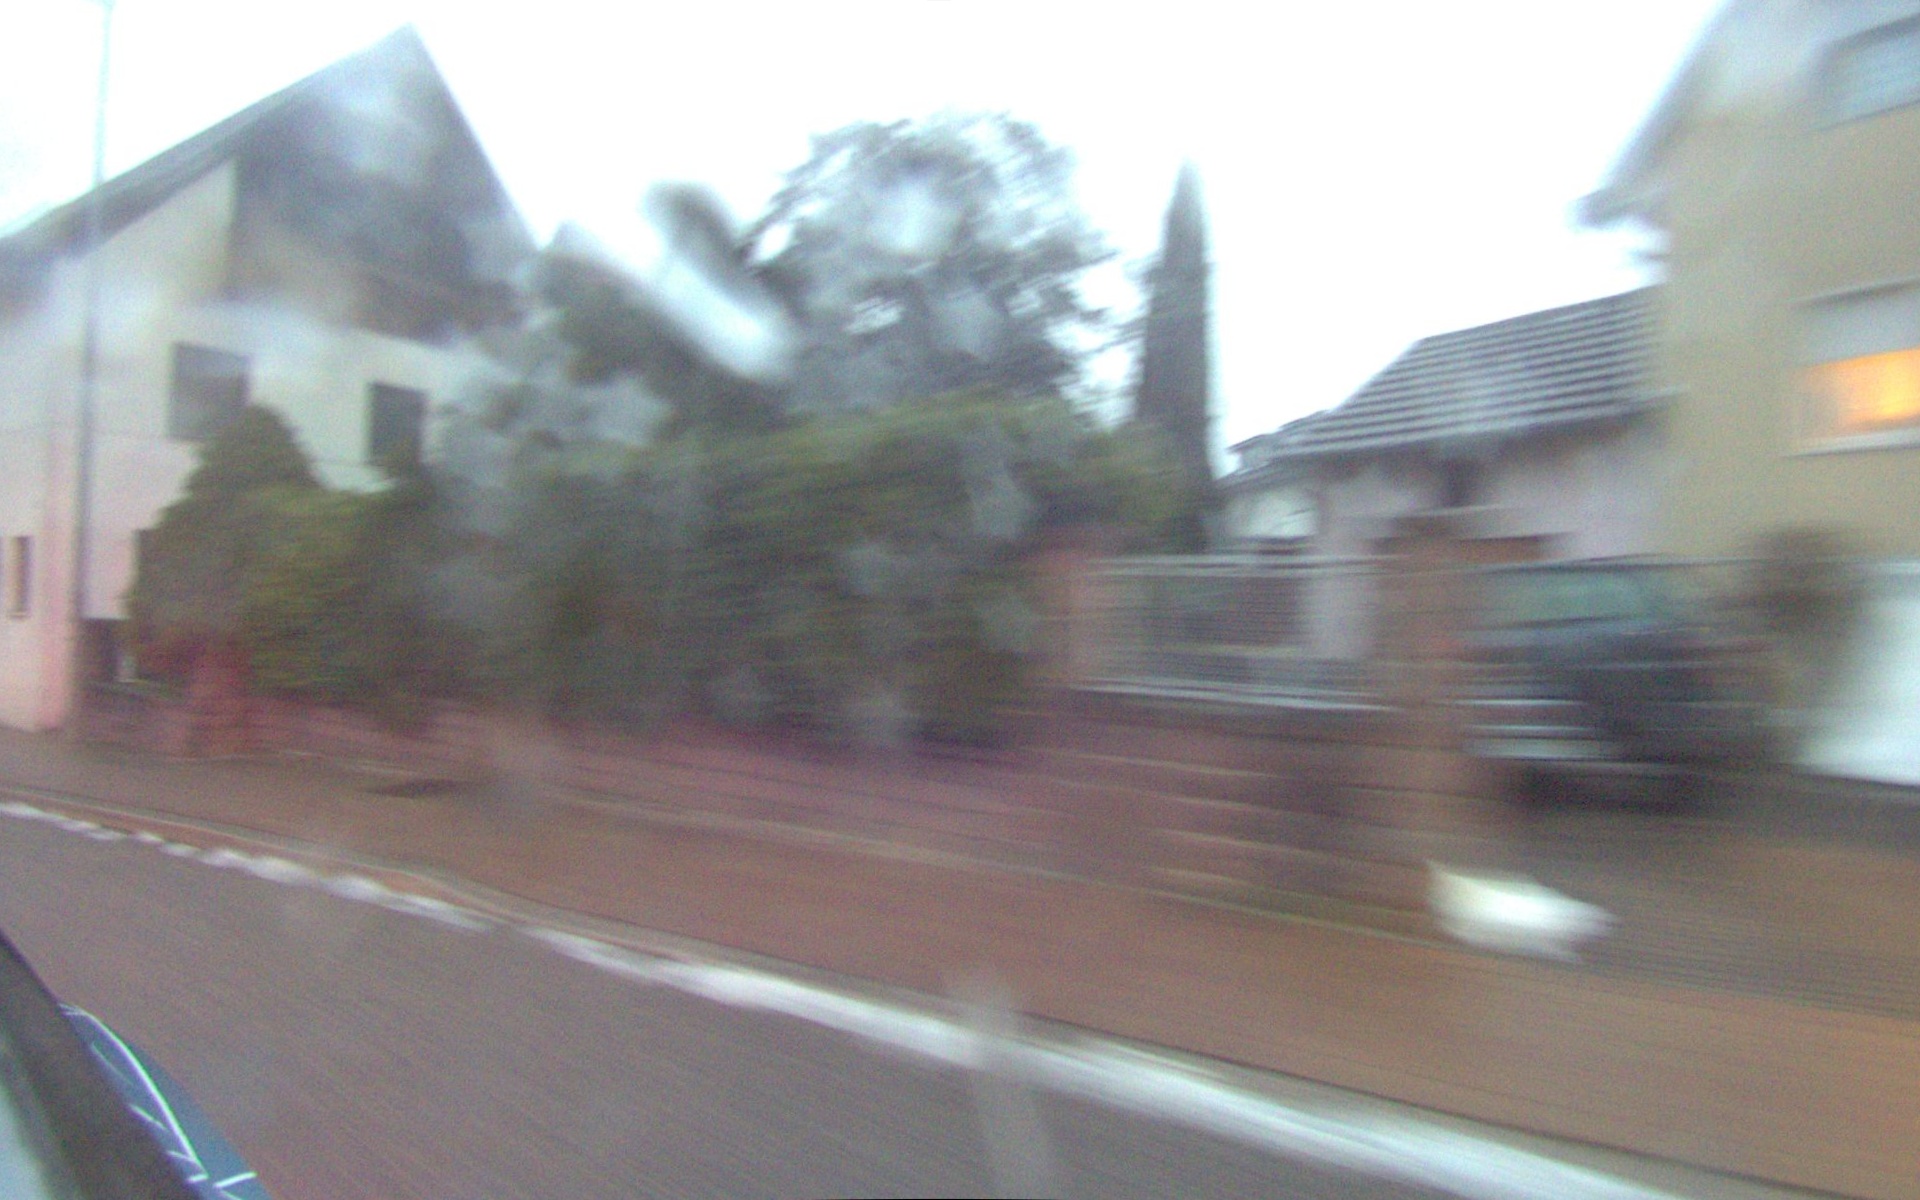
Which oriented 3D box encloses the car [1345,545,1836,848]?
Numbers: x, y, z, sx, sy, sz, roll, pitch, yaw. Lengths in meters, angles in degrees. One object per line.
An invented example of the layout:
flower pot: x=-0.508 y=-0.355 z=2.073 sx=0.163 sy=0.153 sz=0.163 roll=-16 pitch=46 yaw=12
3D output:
car: x=4.227 y=0.529 z=7.550 sx=1.890 sy=1.667 sz=3.623 roll=-1 pitch=0 yaw=11
